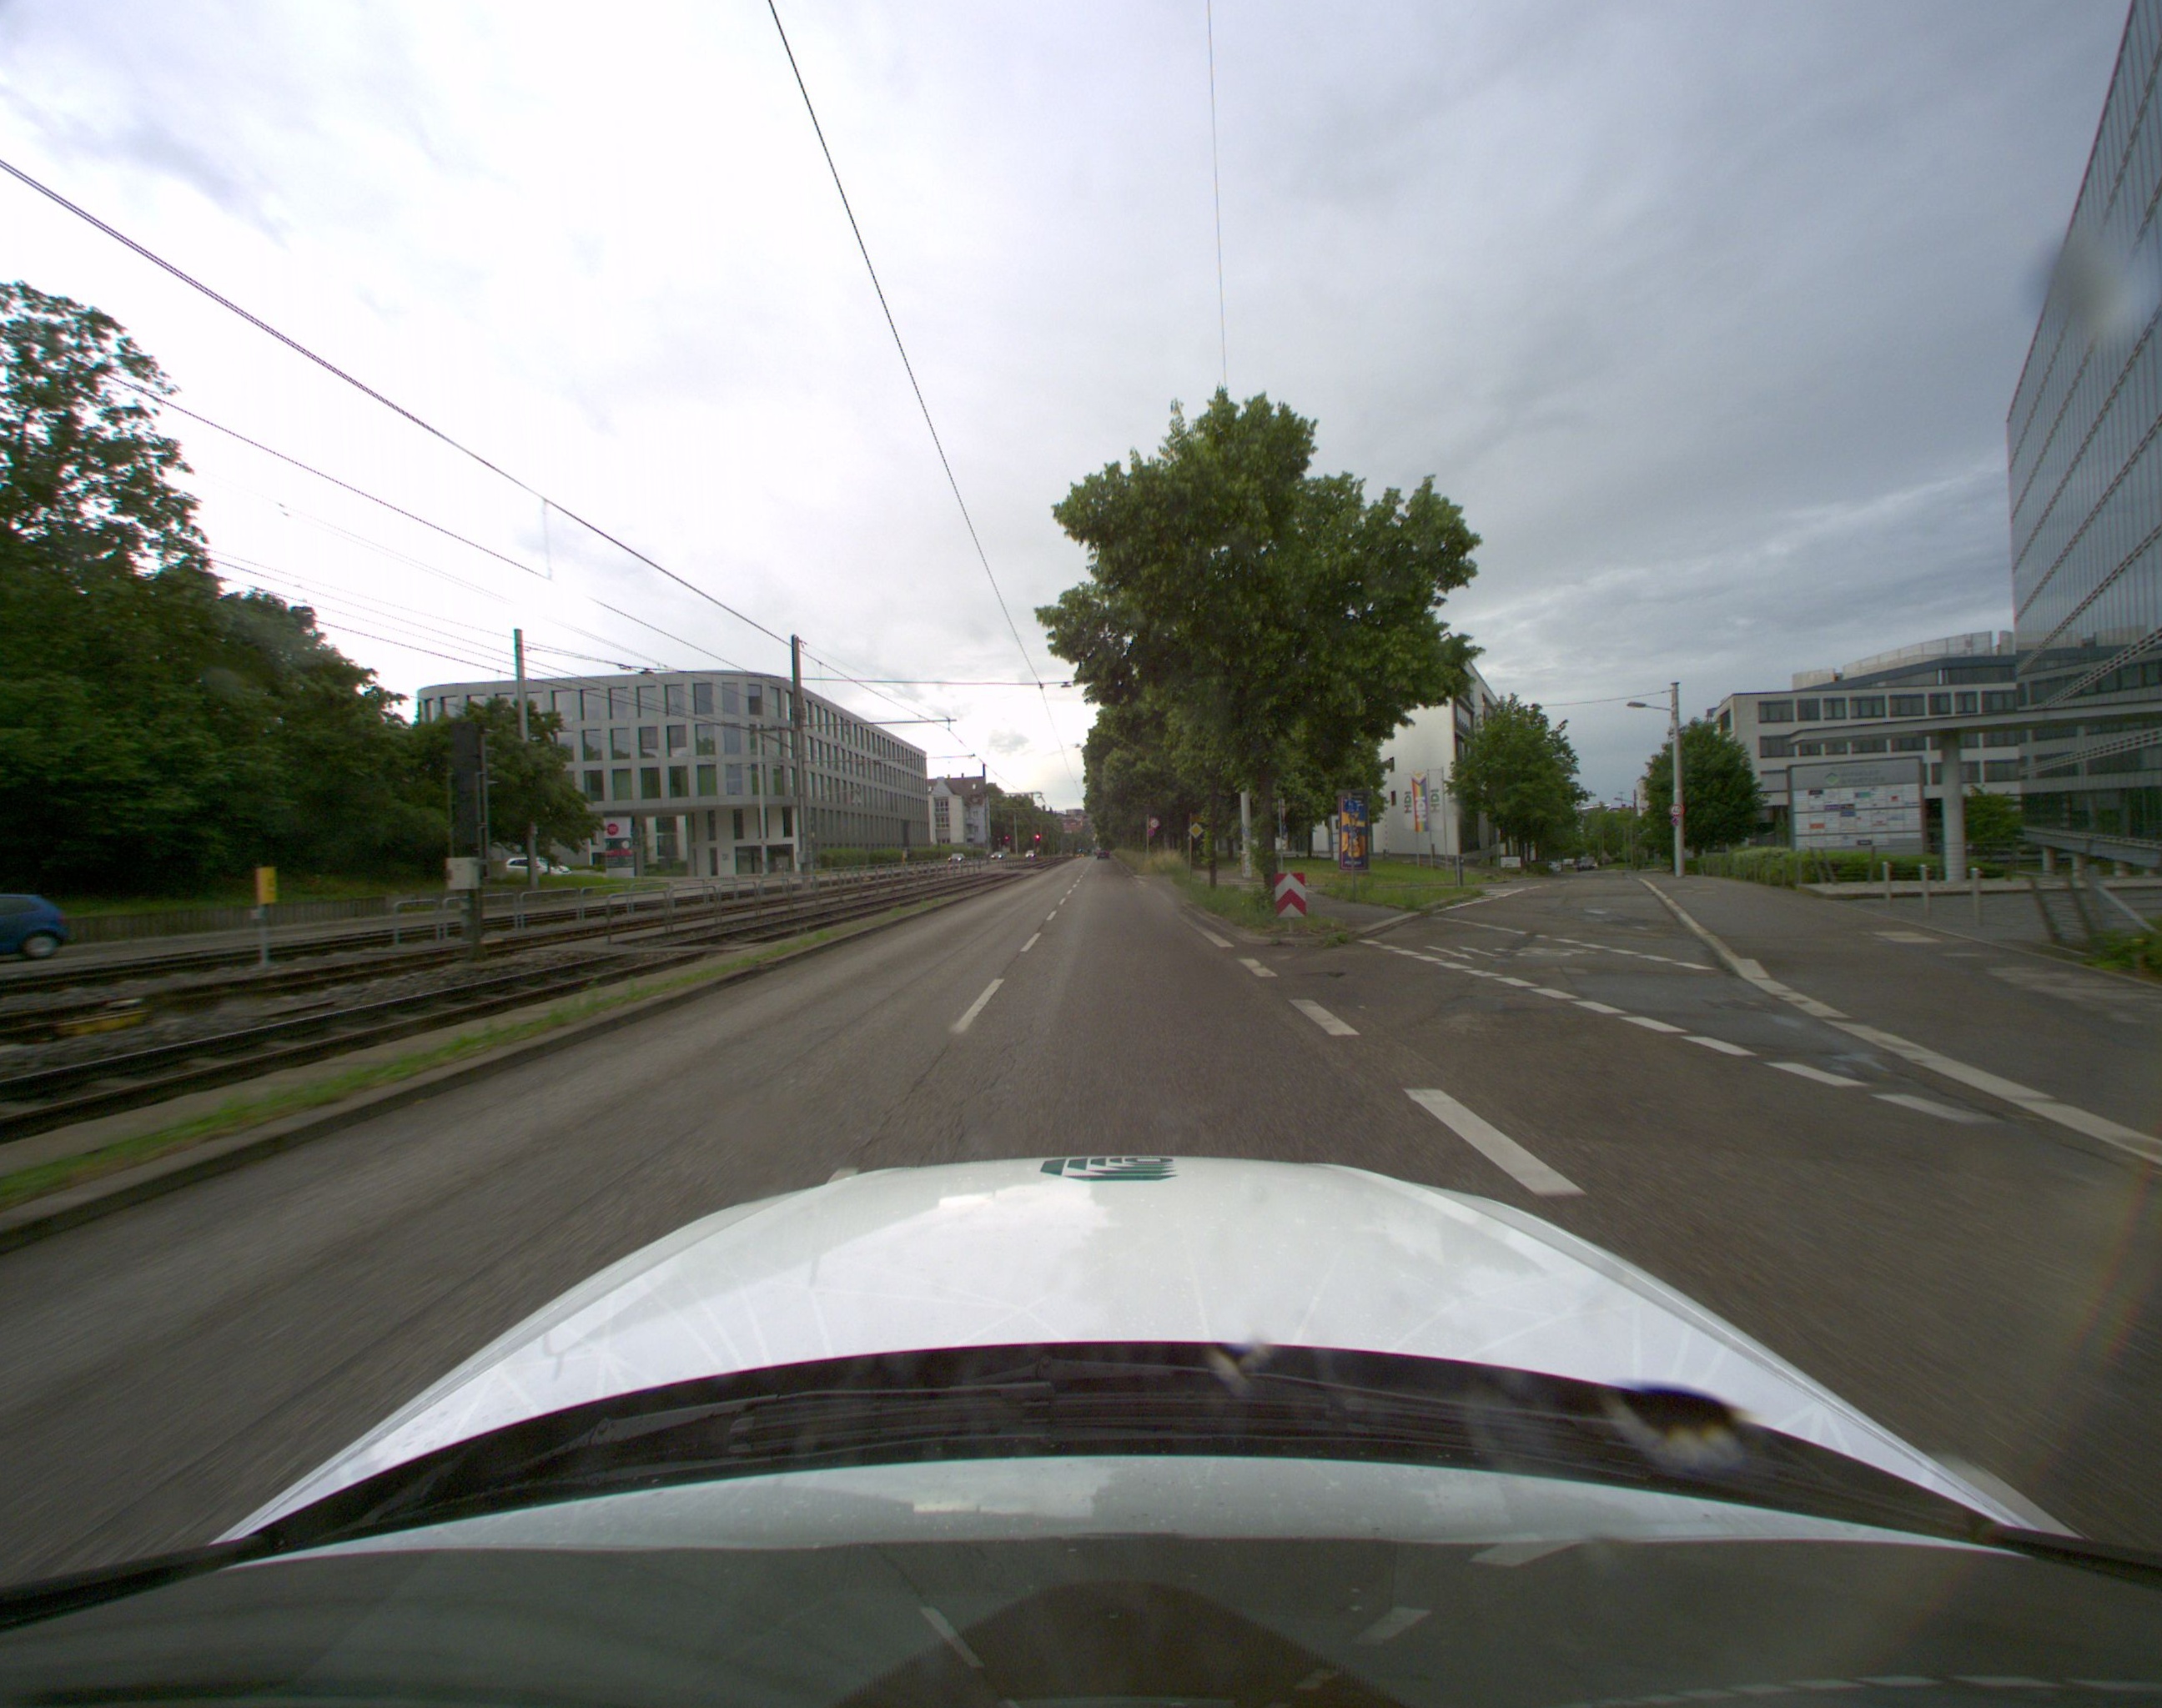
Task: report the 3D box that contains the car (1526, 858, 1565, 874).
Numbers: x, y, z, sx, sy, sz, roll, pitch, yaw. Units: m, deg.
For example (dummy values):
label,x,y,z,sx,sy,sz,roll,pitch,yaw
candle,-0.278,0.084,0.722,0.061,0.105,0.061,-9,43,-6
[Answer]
label,x,y,z,sx,sy,sz,roll,pitch,yaw
car,54.710,1.395,95.947,3.949,1.717,2.012,-2,0,28

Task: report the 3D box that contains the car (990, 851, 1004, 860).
label,x,y,z,sx,sy,sz,roll,pitch,yaw
car,-14.689,0.240,142.718,1.791,1.347,4.261,-2,0,2

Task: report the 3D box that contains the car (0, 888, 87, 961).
label,x,y,z,sx,sy,sz,roll,pitch,yaw
car,-22.476,1.474,15.660,1.753,1.397,3.905,-2,0,4

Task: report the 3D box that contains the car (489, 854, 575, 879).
label,x,y,z,sx,sy,sz,roll,pitch,yaw
car,-33.847,0.776,50.291,3.907,1.453,1.925,1,0,-1

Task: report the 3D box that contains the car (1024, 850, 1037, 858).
label,x,y,z,sx,sy,sz,roll,pitch,yaw
car,-10.231,-0.004,164.572,1.894,1.644,4.888,-2,0,3

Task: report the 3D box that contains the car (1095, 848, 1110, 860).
label,x,y,z,sx,sy,sz,roll,pitch,yaw
car,2.942,-0.015,111.818,1.975,1.440,4.476,-2,0,2

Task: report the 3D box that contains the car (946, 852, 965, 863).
label,x,y,z,sx,sy,sz,roll,pitch,yaw
car,-16.660,0.453,108.529,1.750,1.244,3.989,-2,0,2
